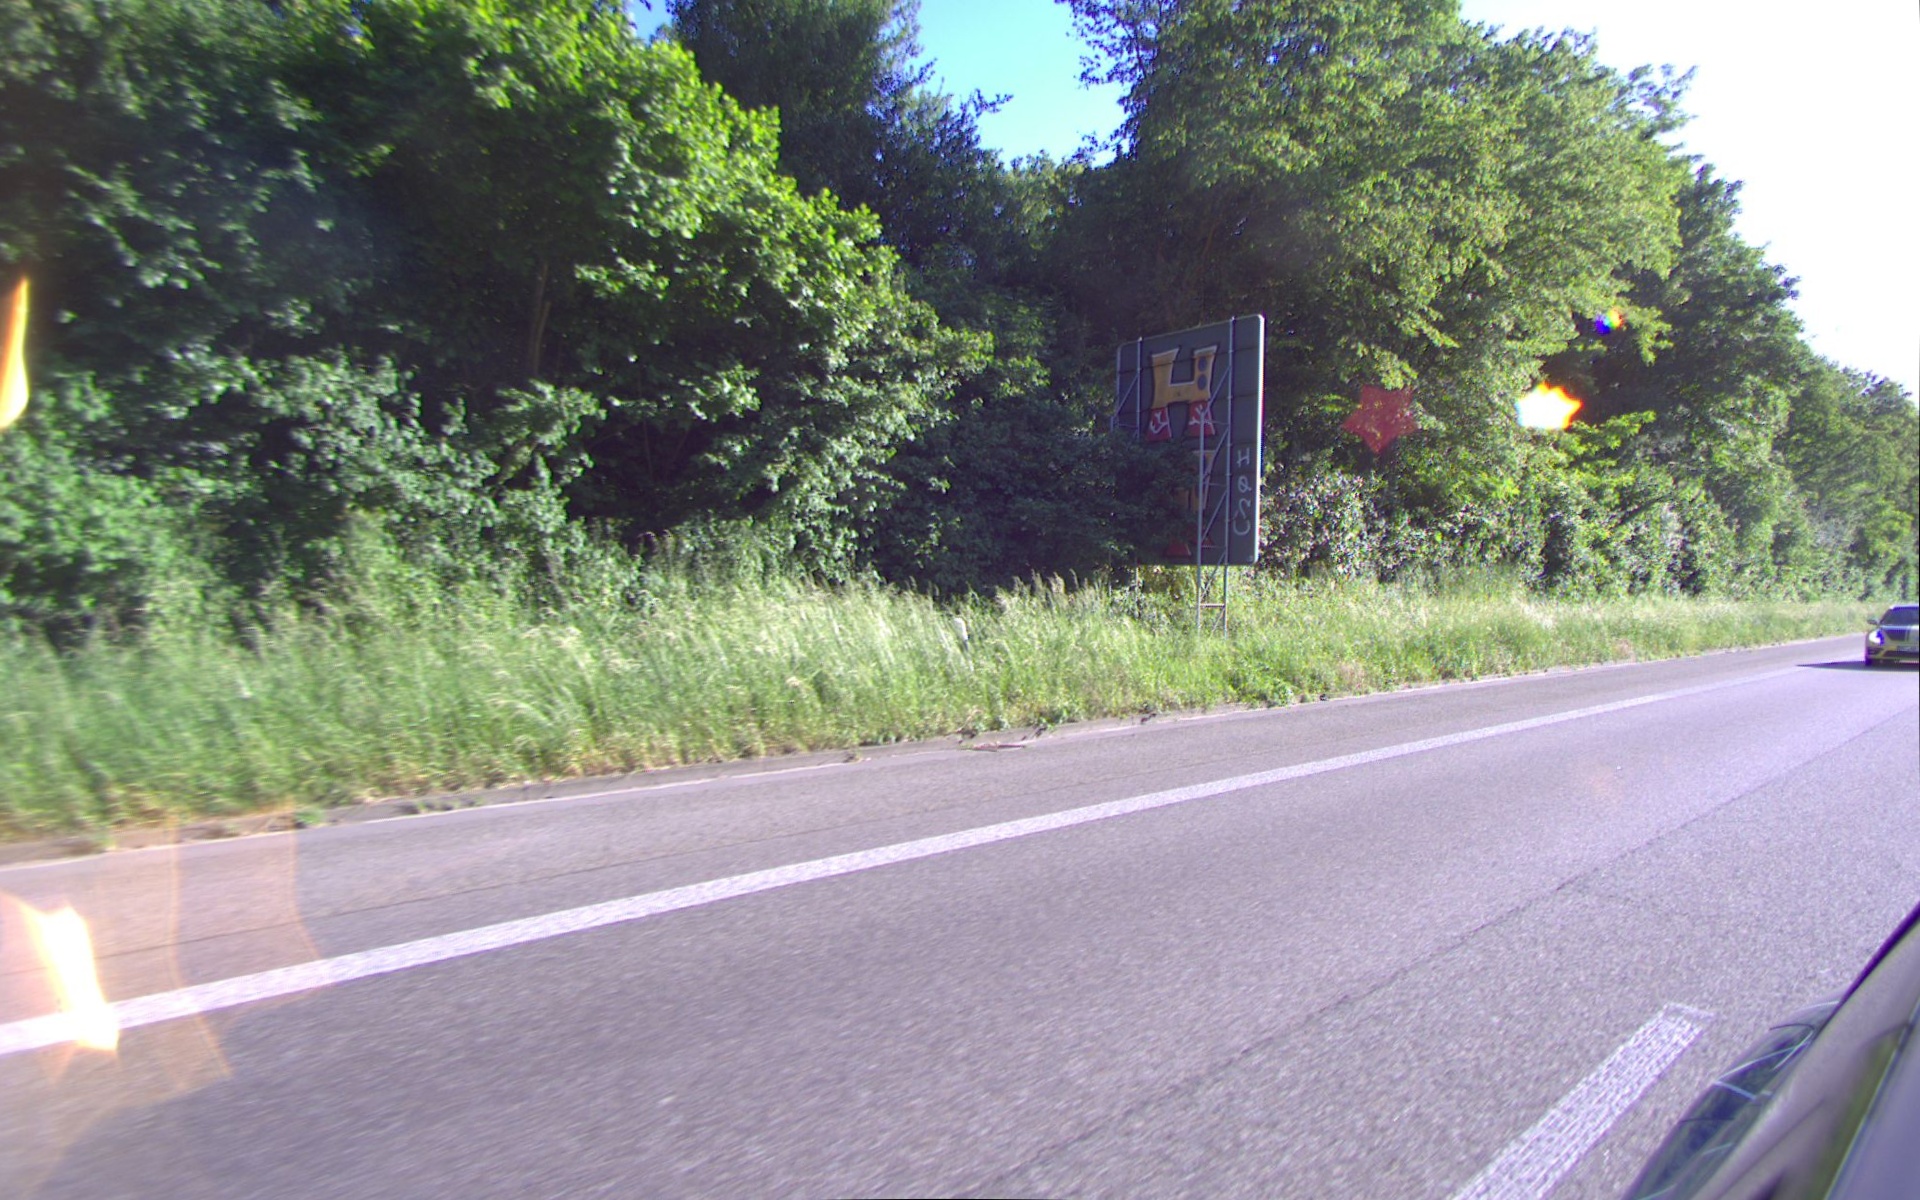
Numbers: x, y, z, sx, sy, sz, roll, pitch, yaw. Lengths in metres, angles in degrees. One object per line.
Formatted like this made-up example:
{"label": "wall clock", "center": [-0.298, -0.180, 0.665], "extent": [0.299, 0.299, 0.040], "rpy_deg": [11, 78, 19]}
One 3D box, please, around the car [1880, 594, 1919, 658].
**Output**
{"label": "car", "center": [23.311, 0.597, 24.034], "extent": [3.811, 1.467, 1.793], "rpy_deg": [0, 0, -42]}
